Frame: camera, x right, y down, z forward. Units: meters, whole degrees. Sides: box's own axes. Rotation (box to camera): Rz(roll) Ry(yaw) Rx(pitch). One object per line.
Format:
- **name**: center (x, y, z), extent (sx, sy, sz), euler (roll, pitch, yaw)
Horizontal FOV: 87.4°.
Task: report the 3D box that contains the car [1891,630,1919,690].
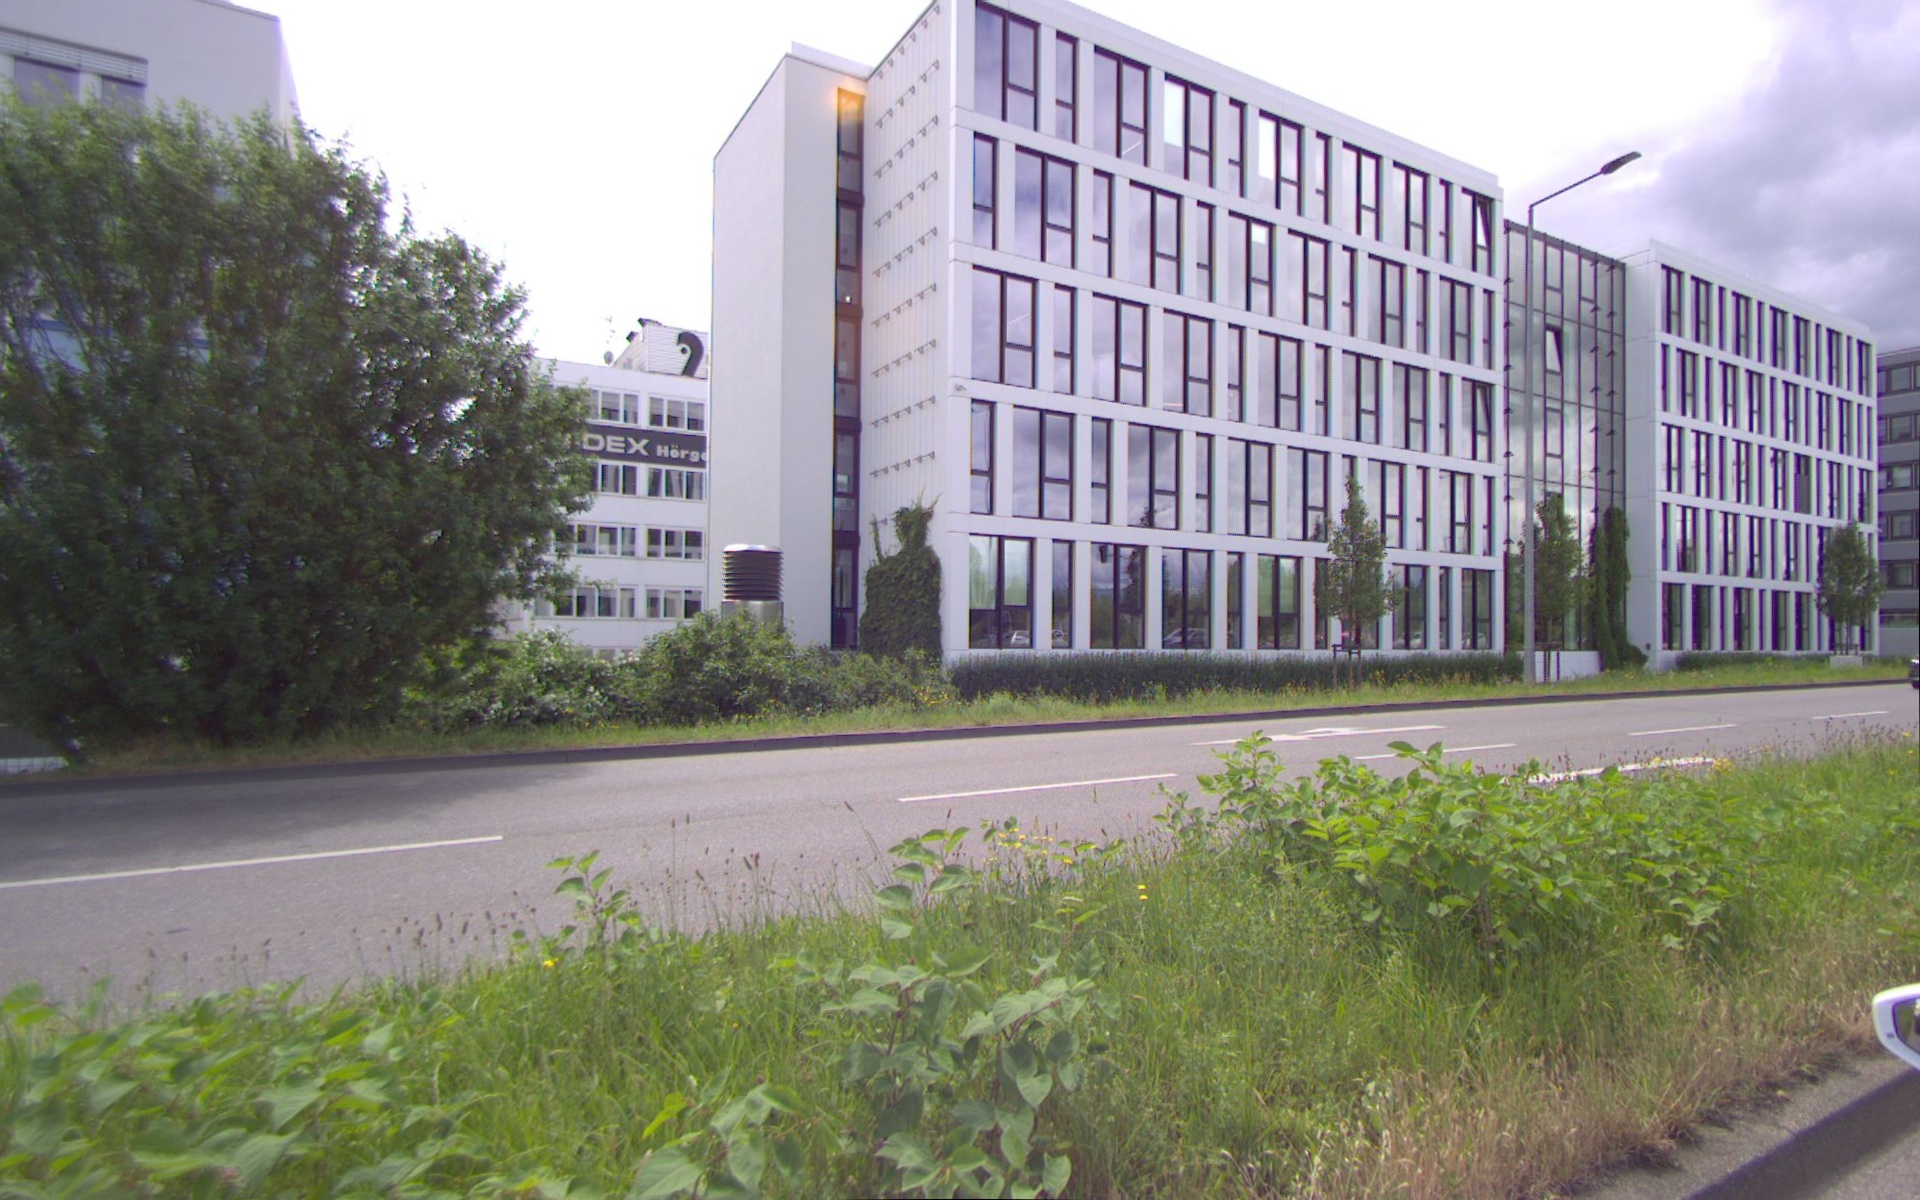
- **car**: center (24.856, 1.477, 24.622), extent (3.953, 1.416, 1.923), euler (1, -1, -30)
